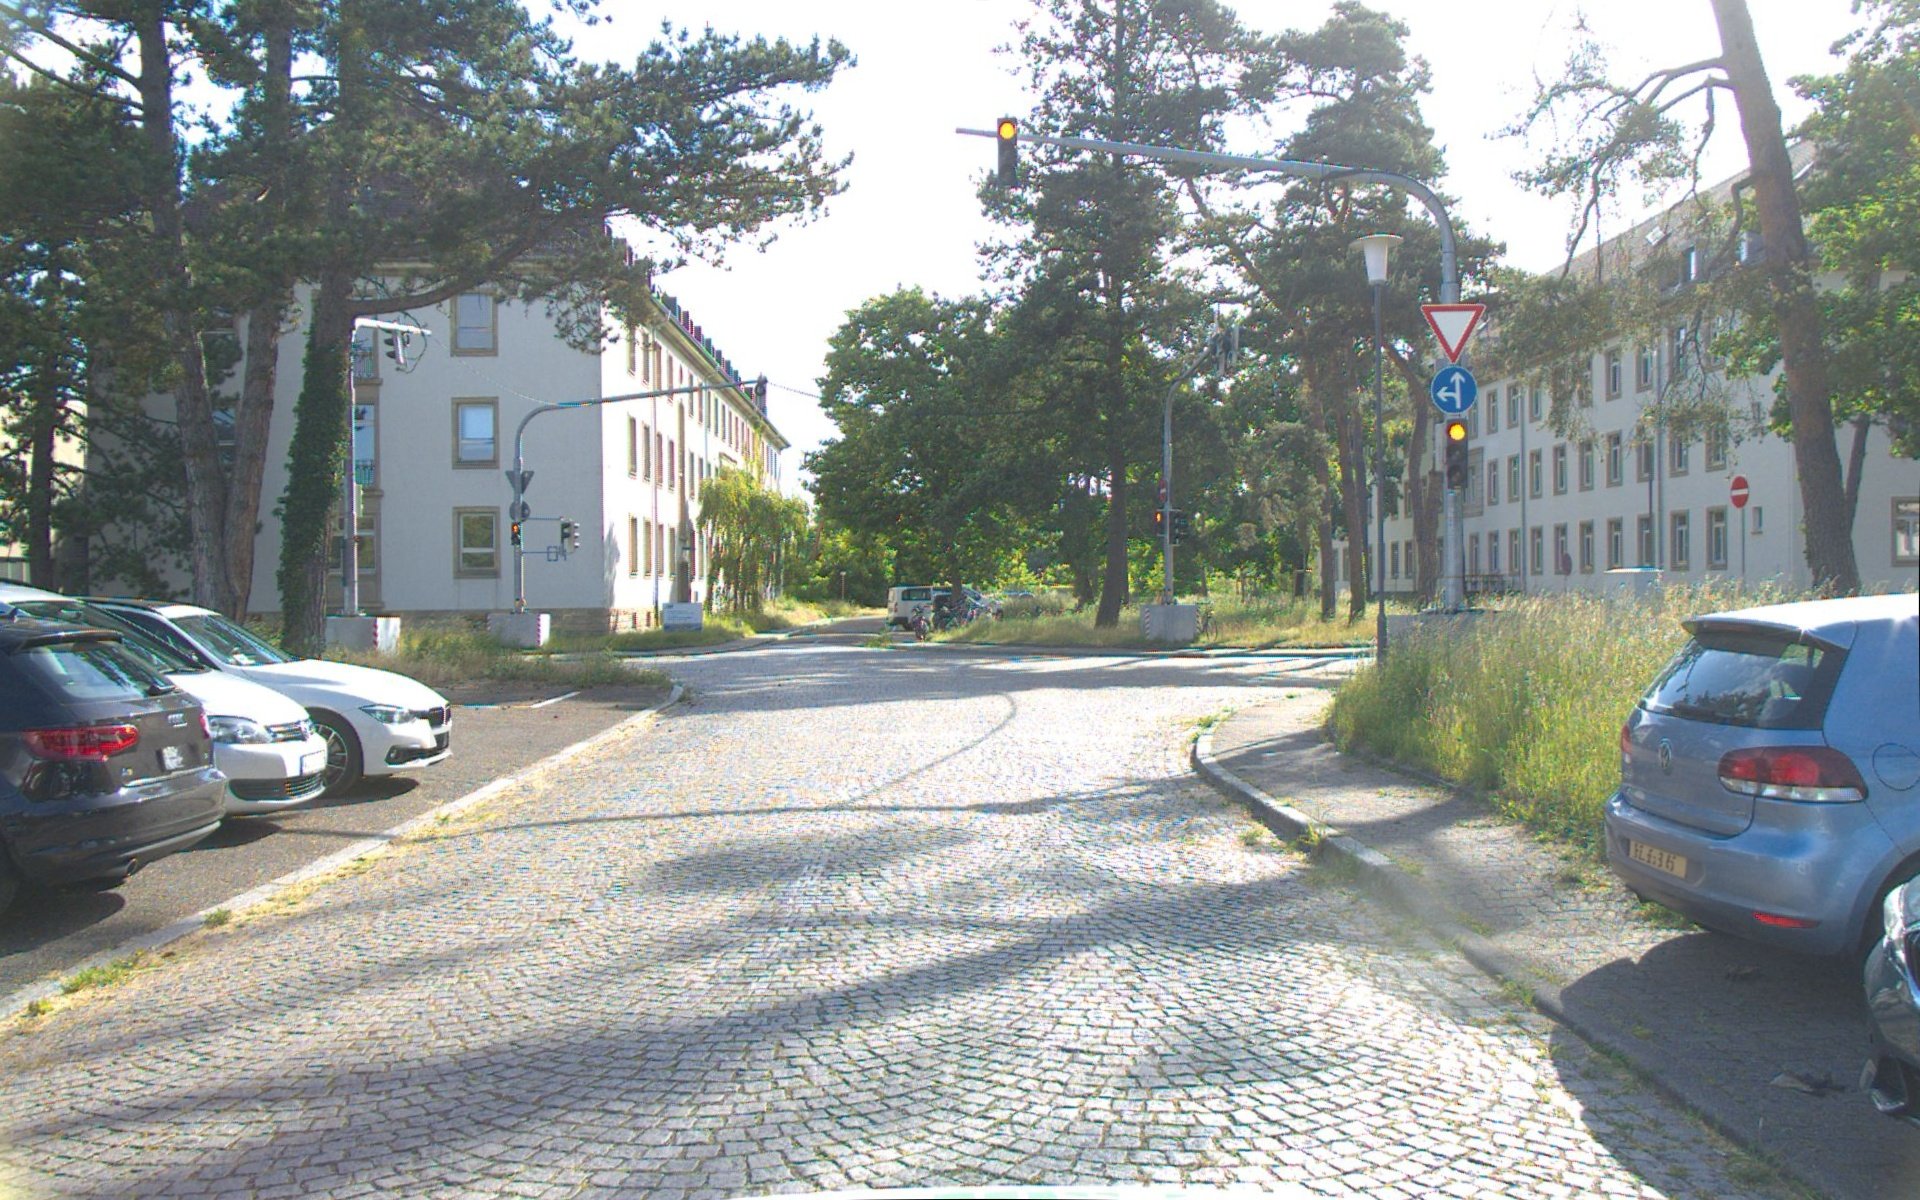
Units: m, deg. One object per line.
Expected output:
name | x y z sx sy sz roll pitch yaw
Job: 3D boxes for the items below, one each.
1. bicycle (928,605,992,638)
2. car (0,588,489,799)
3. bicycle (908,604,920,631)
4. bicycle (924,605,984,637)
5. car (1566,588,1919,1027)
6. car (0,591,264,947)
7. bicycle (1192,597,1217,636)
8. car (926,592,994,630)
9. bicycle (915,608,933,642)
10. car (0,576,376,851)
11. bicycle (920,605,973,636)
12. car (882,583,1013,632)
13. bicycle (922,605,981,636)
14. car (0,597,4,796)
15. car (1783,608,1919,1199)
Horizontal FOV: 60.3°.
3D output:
bicycle | -0.004 0.716 55.322 2.070 1.028 0.619 2 -1 -9
car | -6.189 0.708 13.375 4.248 1.494 1.829 1 0 -5
bicycle | -1.811 0.697 64.931 0.409 1.028 1.483 1 0 -1
bicycle | -0.206 0.723 57.030 1.967 1.028 0.631 2 -1 -9
car | 4.613 0.663 6.535 3.803 1.440 1.636 -2 1 -1
car | -5.707 0.703 7.984 3.908 1.506 1.802 1 0 -5
bicycle | 6.403 0.430 43.387 0.295 0.977 1.584 1 0 -5
car | -0.011 0.461 69.799 2.728 1.492 1.669 1 -1 -6
bicycle | -1.125 0.781 51.672 0.458 1.028 1.584 1 0 -5
car | -6.198 0.666 10.933 4.000 1.621 1.884 1 0 -5
bicycle | -0.493 0.727 58.779 1.804 1.028 0.634 2 -1 -9
car | -0.551 0.340 73.388 5.439 2.049 1.989 2 -1 -20
bicycle | -0.300 0.726 57.911 1.990 1.028 0.626 2 -1 -9
car | -5.435 0.707 5.339 3.672 1.513 1.644 1 0 -5
car | 4.553 0.680 3.827 4.467 1.440 1.636 -2 1 -1
